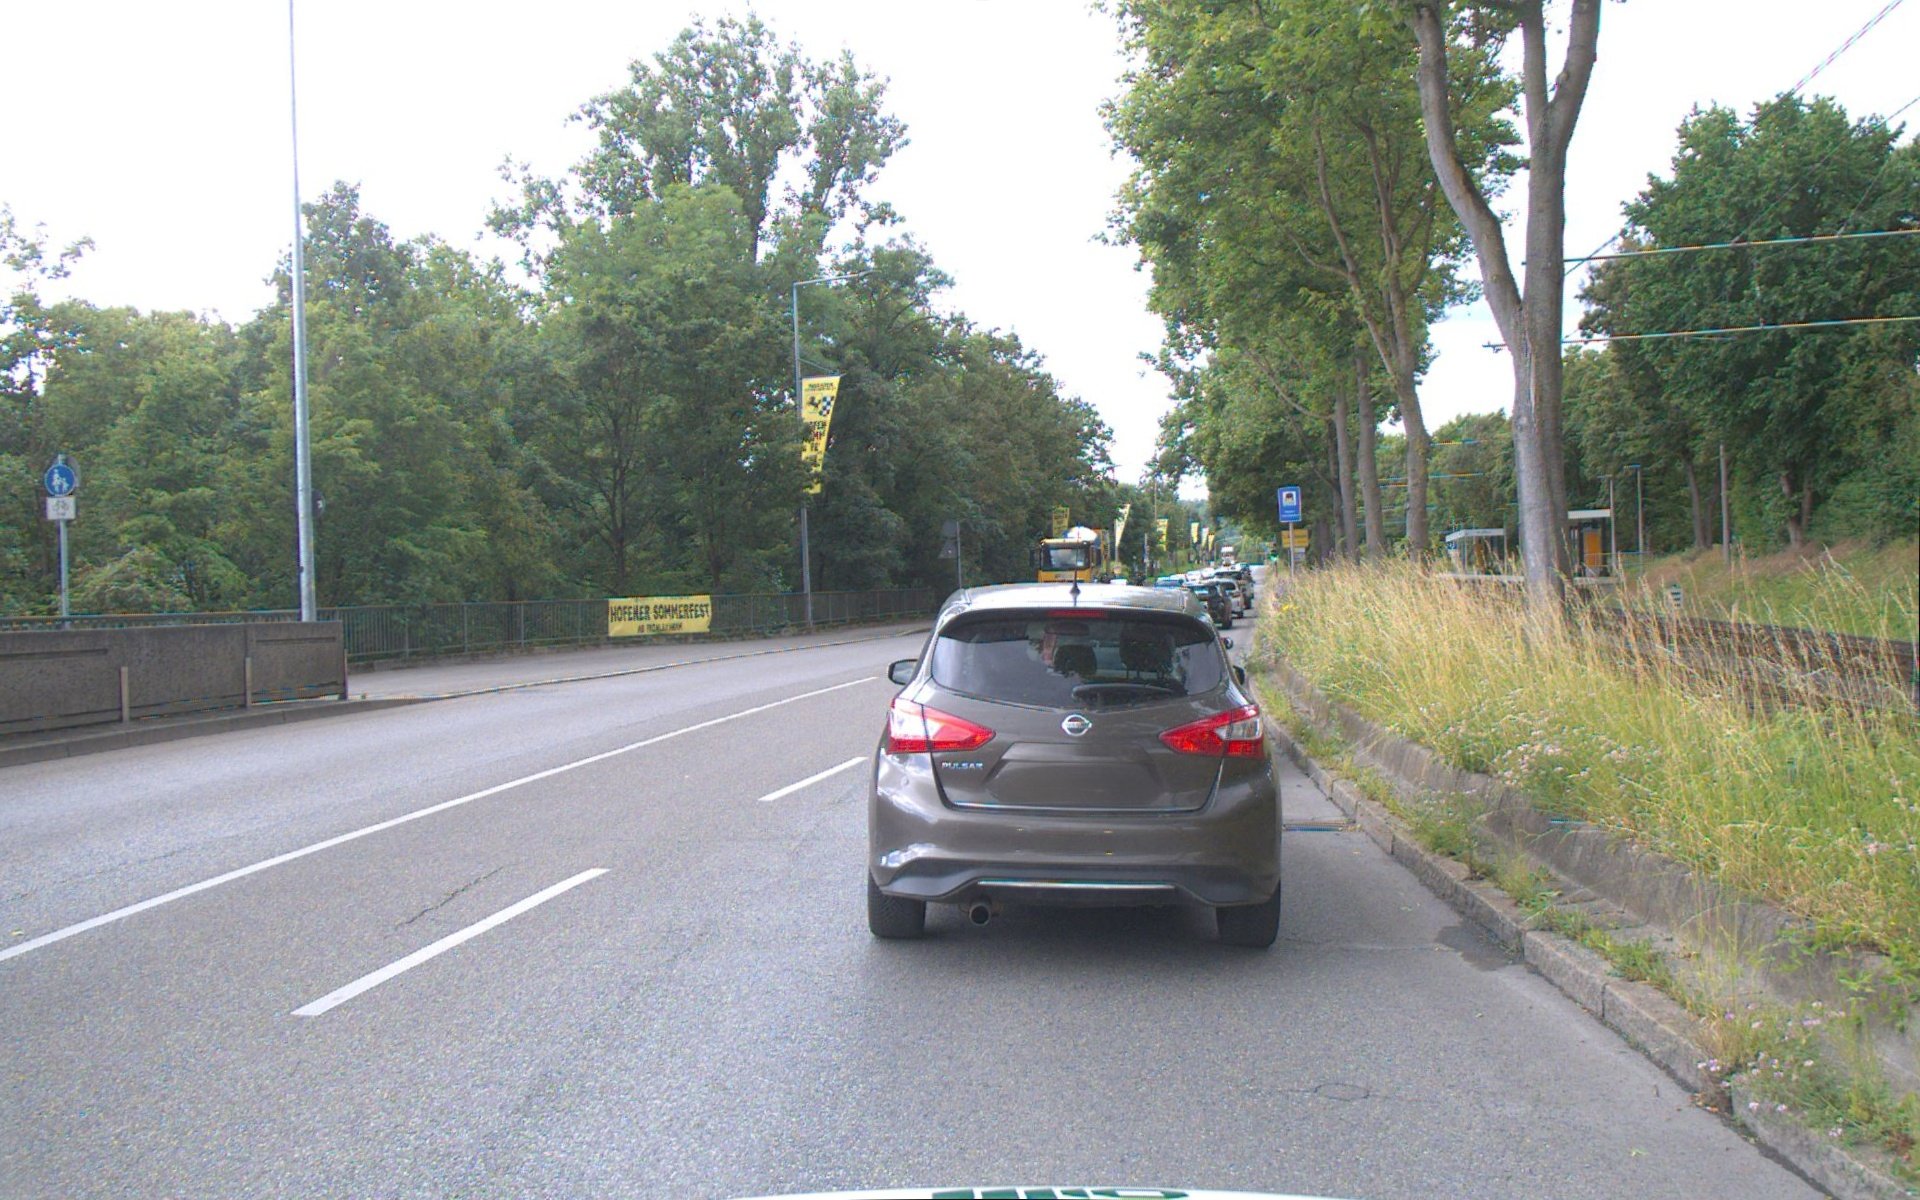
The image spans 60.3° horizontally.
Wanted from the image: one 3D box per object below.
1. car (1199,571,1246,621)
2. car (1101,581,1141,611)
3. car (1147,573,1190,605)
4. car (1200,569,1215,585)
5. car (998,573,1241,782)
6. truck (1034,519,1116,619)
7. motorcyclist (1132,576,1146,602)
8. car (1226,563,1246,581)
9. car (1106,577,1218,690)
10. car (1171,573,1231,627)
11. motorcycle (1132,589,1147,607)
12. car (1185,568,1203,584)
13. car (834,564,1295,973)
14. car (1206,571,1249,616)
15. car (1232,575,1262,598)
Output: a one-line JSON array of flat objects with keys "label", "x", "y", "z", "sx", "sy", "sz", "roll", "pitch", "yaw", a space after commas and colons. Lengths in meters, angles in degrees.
[{"label": "car", "x": 9.973, "y": -0.113, "z": 62.695, "sx": 1.681, "sy": 1.723, "sz": 4.003, "roll": -2, "pitch": -2, "yaw": 10}, {"label": "car", "x": 8.349, "y": -0.206, "z": 85.477, "sx": 1.729, "sy": 1.505, "sz": 4.004, "roll": 0, "pitch": 1, "yaw": 10}, {"label": "car", "x": 10.717, "y": -0.531, "z": 84.907, "sx": 1.812, "sy": 1.512, "sz": 4.424, "roll": -1, "pitch": -1, "yaw": 12}, {"label": "car", "x": 30.012, "y": -2.765, "z": 200.654, "sx": 1.681, "sy": 1.723, "sz": 3.728, "roll": -2, "pitch": -2, "yaw": 10}, {"label": "car", "x": 1.350, "y": 0.622, "z": 14.707, "sx": 1.853, "sy": 1.601, "sz": 4.002, "roll": 0, "pitch": -1, "yaw": 4}, {"label": "truck", "x": 5.086, "y": -1.267, "z": 71.290, "sx": 2.598, "sy": 4.007, "sz": 10.120, "roll": 0, "pitch": 0, "yaw": 9}, {"label": "motorcyclist", "x": 10.882, "y": -0.651, "z": 100.405, "sx": 0.729, "sy": 1.566, "sz": 0.791, "roll": -1, "pitch": 0, "yaw": 11}, {"label": "car", "x": 27.686, "y": -2.796, "z": 166.060, "sx": 1.850, "sy": 1.682, "sz": 4.004, "roll": -1, "pitch": 0, "yaw": 11}, {"label": "car", "x": 3.122, "y": 0.486, "z": 25.704, "sx": 1.544, "sy": 1.565, "sz": 4.003, "roll": -2, "pitch": 0, "yaw": 7}, {"label": "car", "x": 7.423, "y": 0.009, "z": 51.200, "sx": 1.766, "sy": 1.567, "sz": 4.003, "roll": 0, "pitch": 0, "yaw": 7}, {"label": "motorcycle", "x": 10.901, "y": -0.141, "z": 100.314, "sx": 0.729, "sy": 1.051, "sz": 1.890, "roll": -1, "pitch": 1, "yaw": 12}, {"label": "car", "x": 23.737, "y": -2.407, "z": 167.801, "sx": 1.715, "sy": 1.445, "sz": 4.003, "roll": -2, "pitch": -2, "yaw": 9}, {"label": "car", "x": 0.562, "y": 0.651, "z": 8.259, "sx": 1.737, "sy": 1.520, "sz": 4.002, "roll": 0, "pitch": -1, "yaw": 5}, {"label": "car", "x": 12.642, "y": -0.310, "z": 78.144, "sx": 1.850, "sy": 2.049, "sz": 4.004, "roll": -1, "pitch": 0, "yaw": 11}, {"label": "car", "x": 19.366, "y": -0.889, "z": 111.502, "sx": 1.850, "sy": 1.470, "sz": 3.810, "roll": -1, "pitch": 0, "yaw": 11}]
